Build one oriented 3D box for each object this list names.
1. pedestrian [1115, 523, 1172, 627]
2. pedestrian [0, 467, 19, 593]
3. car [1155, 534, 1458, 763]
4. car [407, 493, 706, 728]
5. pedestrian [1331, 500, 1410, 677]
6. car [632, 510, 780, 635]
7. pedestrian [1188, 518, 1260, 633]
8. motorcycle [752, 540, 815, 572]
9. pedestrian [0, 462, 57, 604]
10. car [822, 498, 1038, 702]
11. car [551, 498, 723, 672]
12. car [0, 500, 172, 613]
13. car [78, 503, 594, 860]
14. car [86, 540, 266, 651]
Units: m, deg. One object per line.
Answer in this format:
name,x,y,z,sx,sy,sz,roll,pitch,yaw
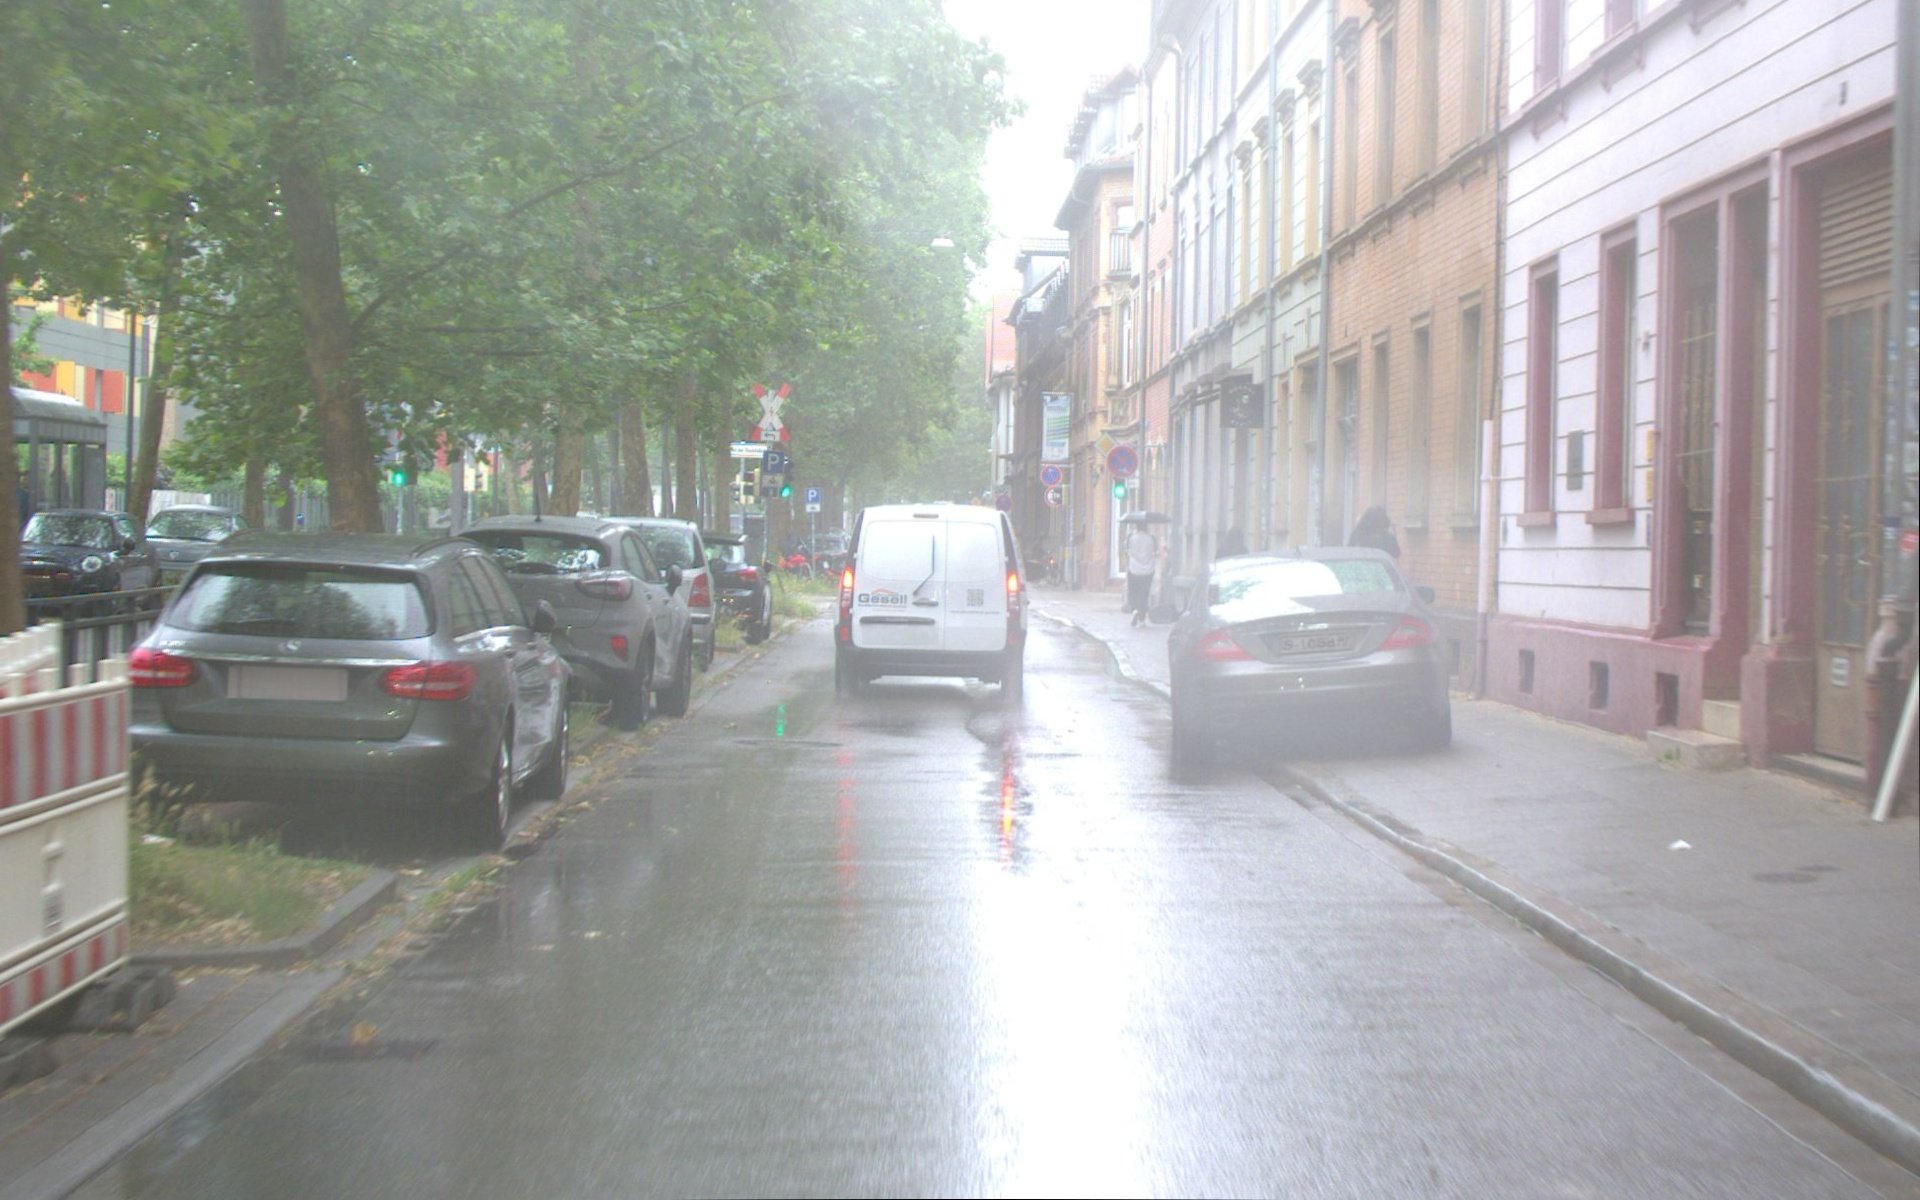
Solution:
pedestrian,3.079,-0.424,57.794,0.840,1.710,1.108,-2,1,0
pedestrian,-13.373,-0.967,46.904,0.818,1.698,0.872,2,1,-2
car,2.368,0.274,24.525,1.814,1.416,4.696,-2,1,2
car,-3.013,0.041,26.466,1.698,1.630,4.355,1,1,1
pedestrian,3.969,-0.115,33.259,0.638,1.679,0.603,-2,1,-1
car,-3.327,-0.377,45.675,1.649,1.495,4.119,3,1,-1
pedestrian,3.552,-0.336,46.293,0.840,1.506,1.108,-2,1,0
motorcycle,-5.010,-1.241,97.658,1.706,0.862,0.577,2,1,5
pedestrian,-13.586,-0.974,49.506,0.869,2.007,0.820,2,1,3
car,-0.279,0.002,33.041,1.903,1.791,4.113,1,0,0
car,-3.369,-0.206,36.388,1.623,1.676,3.660,2,2,-3
car,-11.879,-0.606,46.171,1.738,1.338,3.756,4,1,-2
car,-2.995,0.327,17.466,1.828,1.498,4.614,3,1,-1
car,-12.362,-0.106,54.439,1.993,1.607,4.000,2,1,-1
